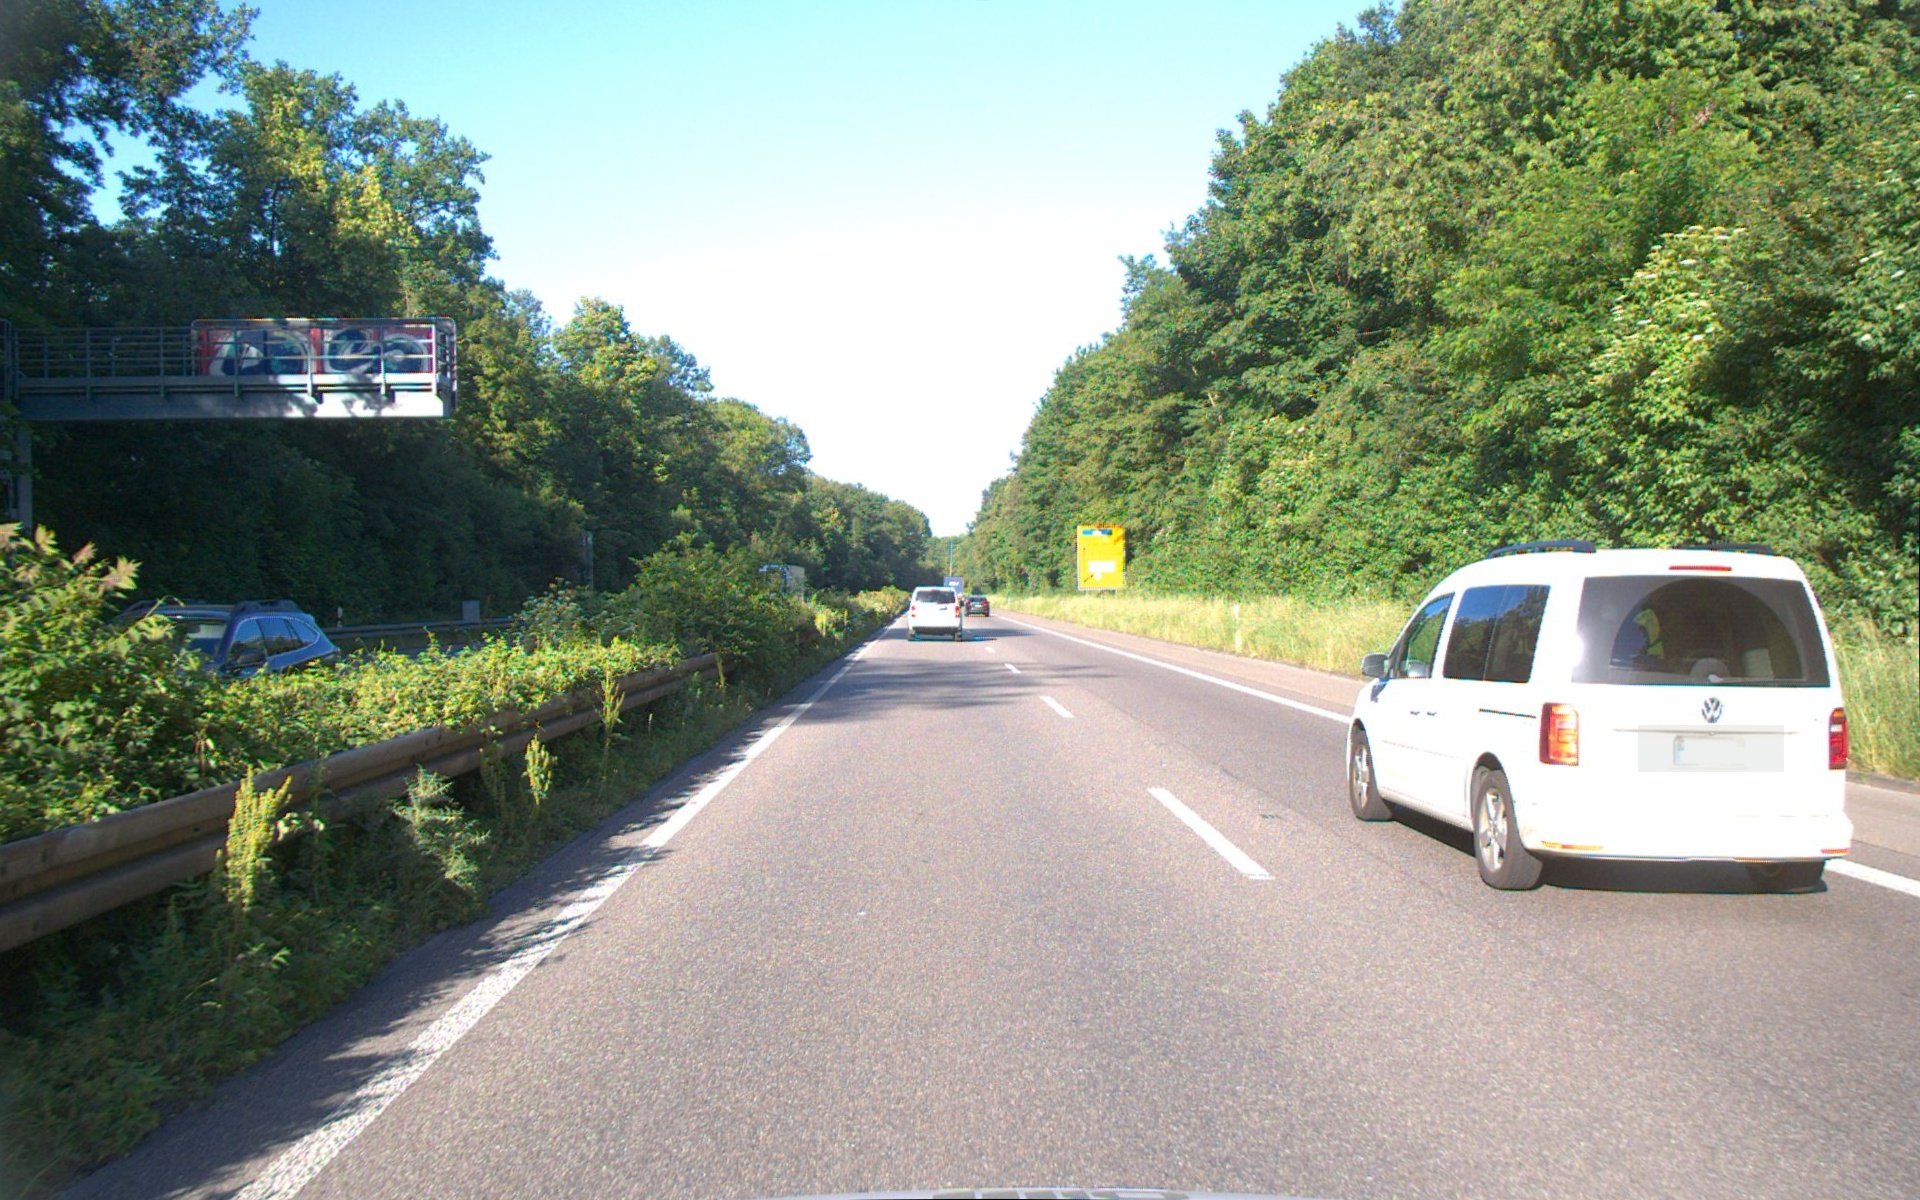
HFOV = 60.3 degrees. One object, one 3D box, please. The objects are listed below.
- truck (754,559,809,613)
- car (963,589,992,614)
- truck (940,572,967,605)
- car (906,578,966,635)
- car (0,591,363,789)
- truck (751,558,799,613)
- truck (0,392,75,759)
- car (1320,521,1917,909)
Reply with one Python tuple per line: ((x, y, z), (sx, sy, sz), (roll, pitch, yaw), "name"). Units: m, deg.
((-14.434, -1.118, 135.101), (3.178, 4.083, 14.447), (1, 0, -1), "truck")
((1.267, 0.122, 121.821), (1.912, 1.813, 4.586), (1, 0, -2), "car")
((-1.004, -1.599, 233.320), (3.658, 4.419, 9.302), (1, 0, -1), "truck")
((-0.830, 0.236, 56.049), (1.912, 1.813, 4.586), (1, 0, -2), "car")
((-7.753, 0.791, 16.706), (1.759, 1.698, 4.697), (1, 0, -1), "car")
((-14.292, -1.090, 128.094), (3.163, 4.083, 5.675), (1, 0, -1), "truck")
((-11.848, -0.311, 13.922), (2.713, 4.024, 11.464), (1, 0, -1), "truck")
((3.687, 0.569, 10.278), (1.762, 1.844, 4.586), (1, 0, -2), "car")
